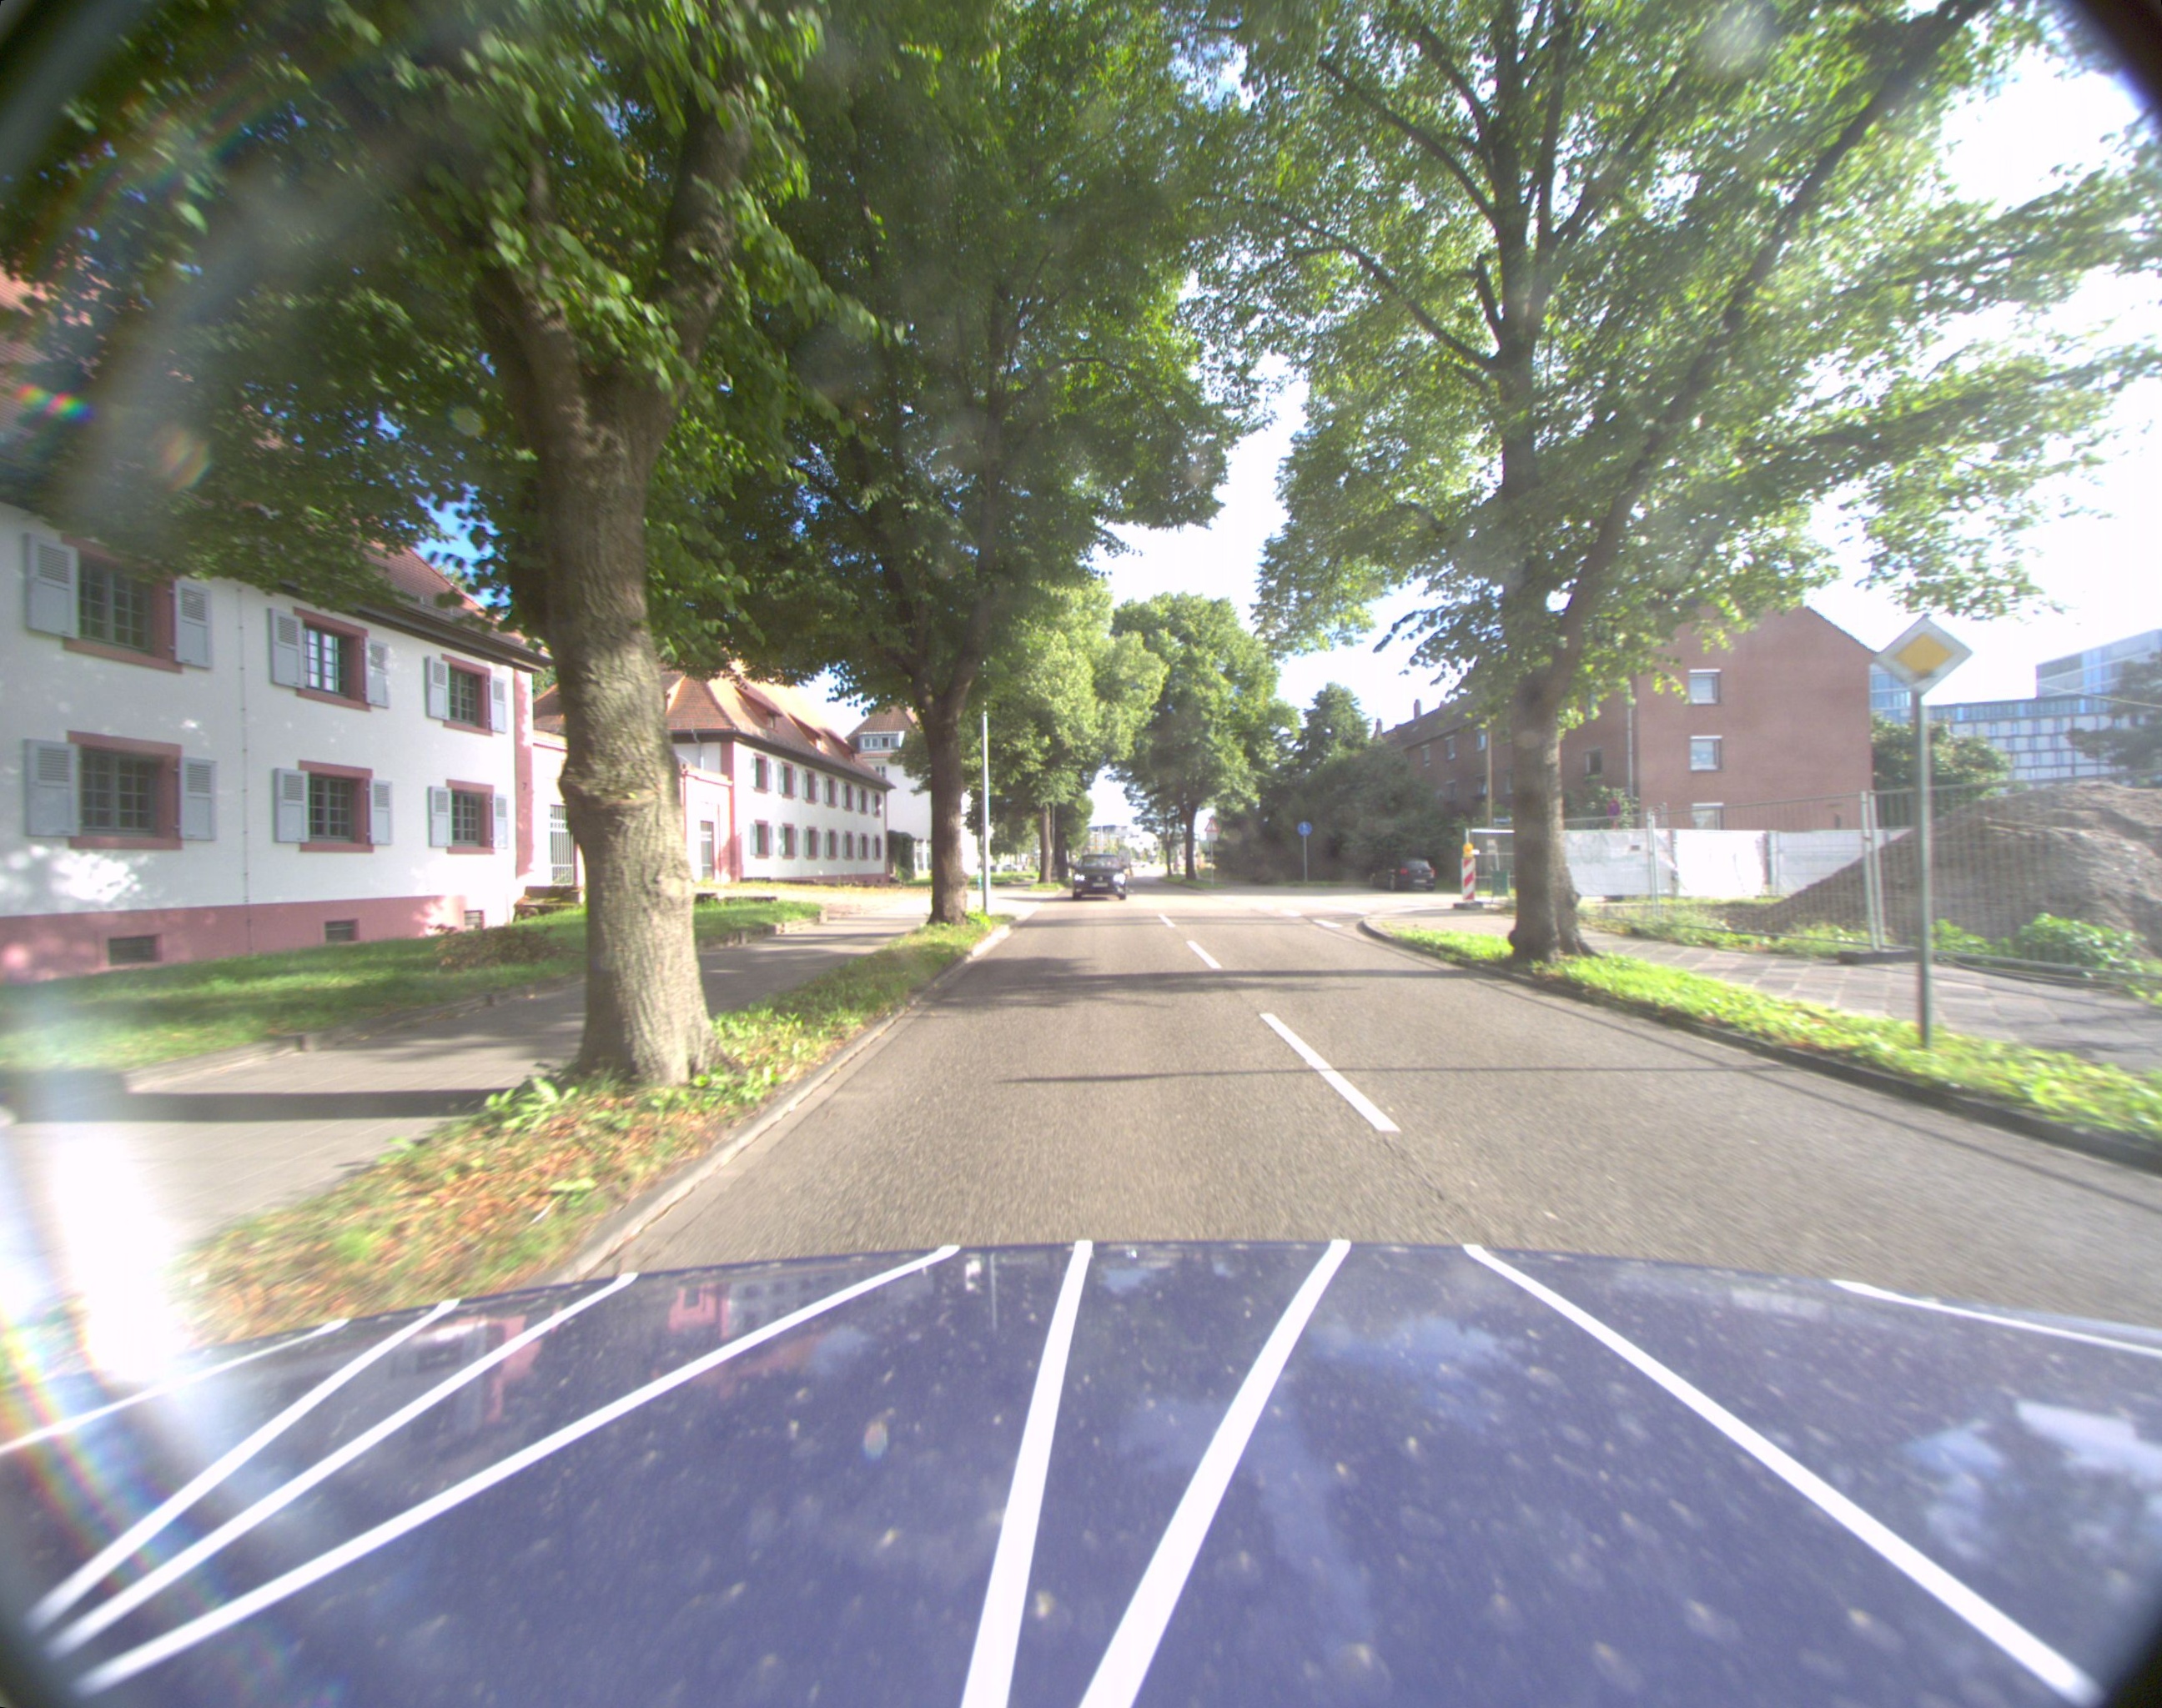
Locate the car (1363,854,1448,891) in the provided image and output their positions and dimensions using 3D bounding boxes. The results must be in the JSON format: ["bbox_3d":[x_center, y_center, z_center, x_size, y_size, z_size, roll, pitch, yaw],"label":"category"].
[{"bbox_3d":[14.040,0.753,33.173,1.998,1.420,4.508,0,1,3],"label":"car"}]

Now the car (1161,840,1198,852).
[{"bbox_3d":[17.036,-1.357,131.900,2.482,1.856,6.235,-3,1,-42],"label":"car"}]

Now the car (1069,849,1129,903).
[{"bbox_3d":[0.680,0.723,26.094,1.821,1.648,4.244,-2,-1,3],"label":"car"}]

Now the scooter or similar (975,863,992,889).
[{"bbox_3d":[-4.881,1.092,38.045,0.580,1.284,1.382,1,0,3],"label":"scooter or similar"}]
